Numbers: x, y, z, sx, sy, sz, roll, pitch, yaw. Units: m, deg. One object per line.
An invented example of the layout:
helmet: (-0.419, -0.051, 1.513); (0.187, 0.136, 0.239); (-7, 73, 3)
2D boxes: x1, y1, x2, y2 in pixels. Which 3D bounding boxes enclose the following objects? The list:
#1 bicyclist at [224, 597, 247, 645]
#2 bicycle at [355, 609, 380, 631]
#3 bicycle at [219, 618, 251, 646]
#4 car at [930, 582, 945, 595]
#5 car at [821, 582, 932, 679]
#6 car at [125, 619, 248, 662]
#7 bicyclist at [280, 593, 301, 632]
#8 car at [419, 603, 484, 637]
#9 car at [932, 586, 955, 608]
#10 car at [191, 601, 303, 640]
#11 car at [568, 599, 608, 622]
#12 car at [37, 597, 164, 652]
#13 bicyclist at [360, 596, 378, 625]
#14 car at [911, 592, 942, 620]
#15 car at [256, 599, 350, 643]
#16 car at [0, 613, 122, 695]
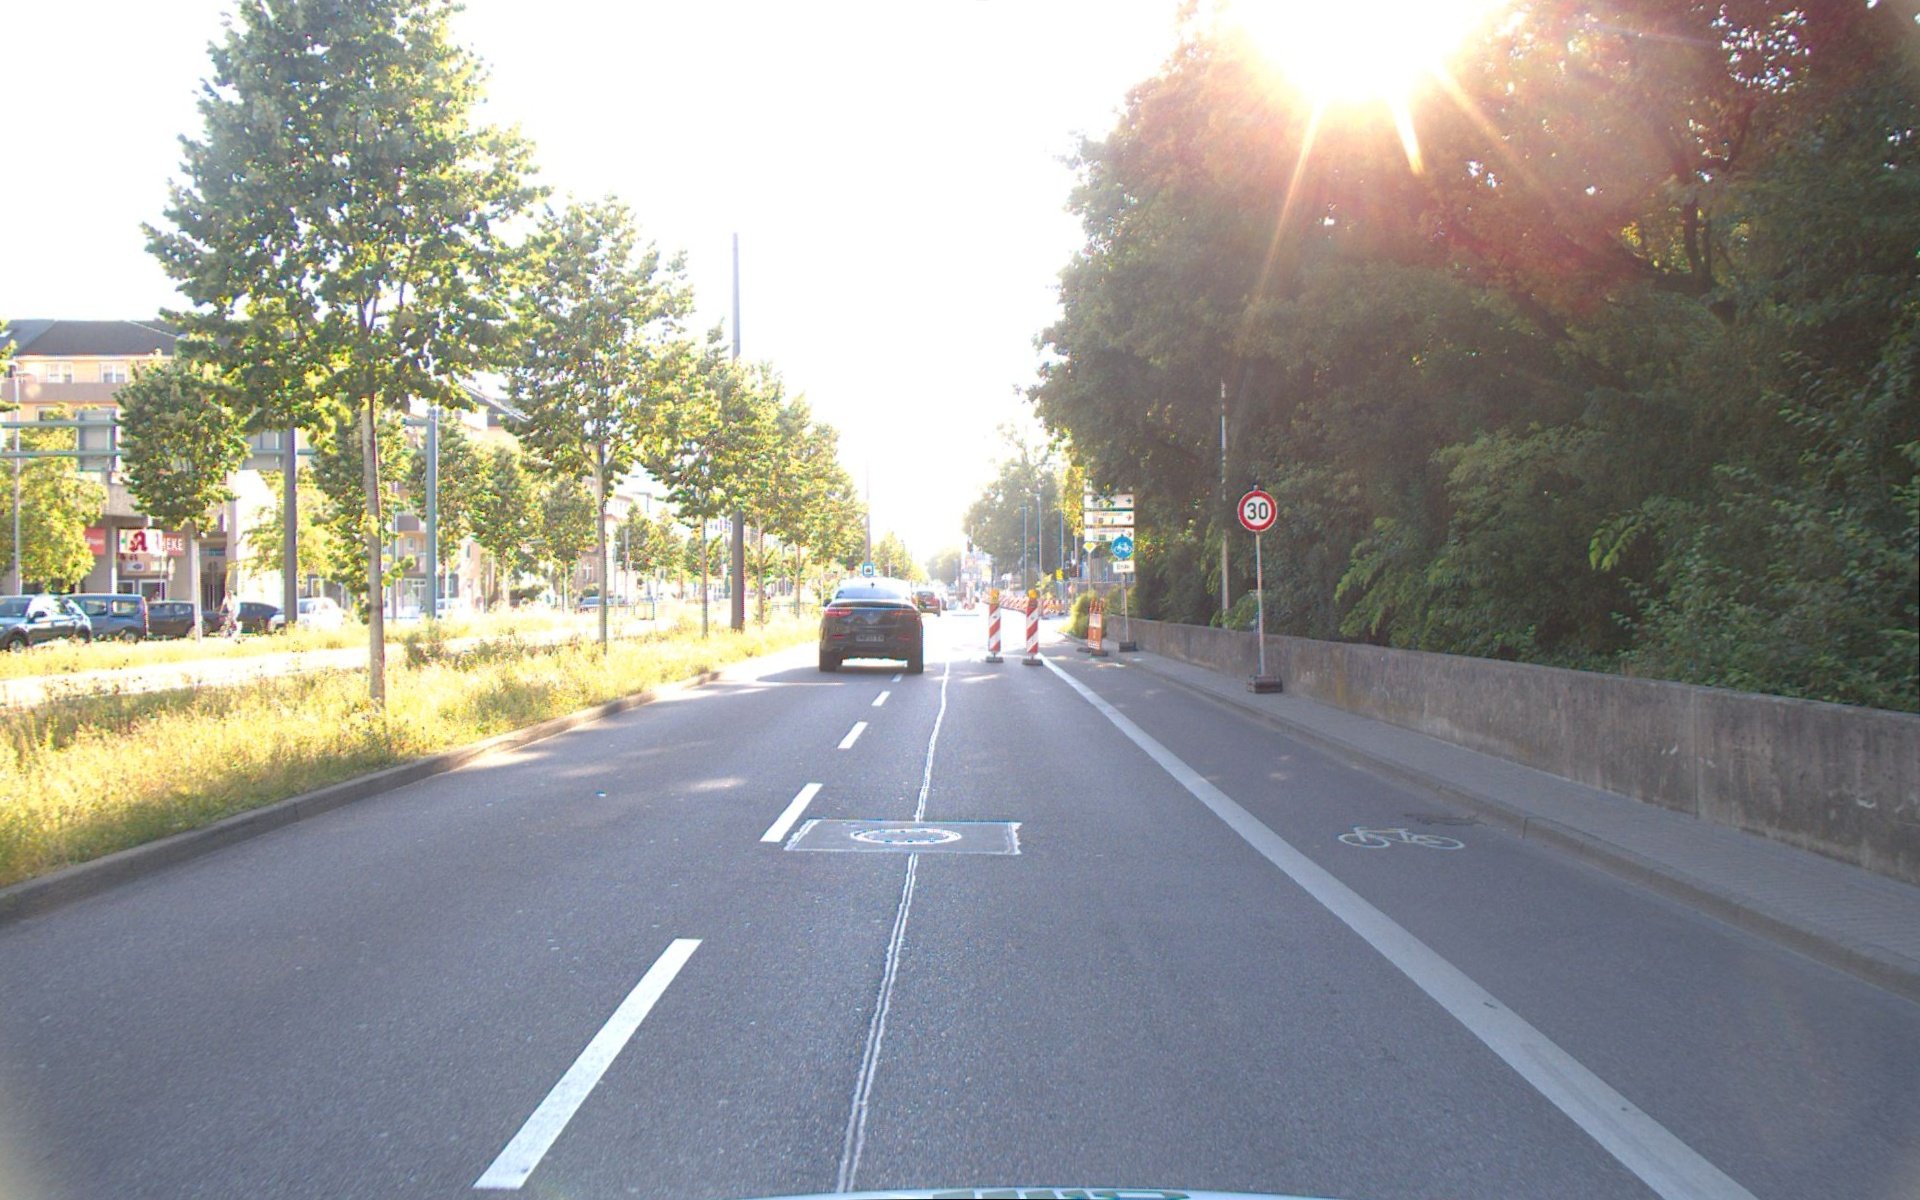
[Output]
bicyclist: (-27.728, 0.804, 63.303); (0.529, 1.819, 0.857); (1, 0, -3)
bicycle: (-27.791, 0.949, 77.607); (0.594, 0.980, 1.716); (1, 0, -3)
bicycle: (-27.735, 1.226, 63.275); (0.533, 1.010, 1.711); (1, 0, -3)
car: (-2.816, -1.409, 204.667); (1.847, 1.608, 4.000); (0, 1, -1)
car: (-1.679, 0.545, 32.189); (1.955, 1.765, 3.995); (0, 0, -6)
car: (-30.655, 1.577, 65.604); (1.964, 1.601, 3.976); (1, 0, 41)
bicyclist: (-27.293, 0.523, 67.408); (0.540, 1.571, 0.682); (1, 0, 1)
car: (-24.950, 0.968, 81.248); (1.846, 1.541, 4.001); (0, 0, 2)
car: (-1.241, -0.247, 124.126); (1.731, 1.632, 3.772); (-1, 0, -1)
car: (-30.343, 0.866, 70.442); (3.966, 1.590, 1.969); (1, 0, -42)
car: (-24.376, 0.698, 108.500); (1.894, 1.421, 3.686); (-1, 0, -3)
car: (-30.592, 0.857, 58.882); (3.724, 1.861, 1.798); (1, 0, -40)
bicyclist: (-27.771, 0.488, 77.692); (0.580, 1.379, 0.759); (1, 0, -3)
car: (-2.006, 0.331, 99.897); (1.847, 1.608, 4.000); (0, 1, -1)
car: (-24.593, 0.765, 62.061); (1.846, 1.541, 4.001); (0, 0, 2)
car: (-22.057, 1.216, 39.055); (1.846, 1.718, 5.090); (0, 0, 2)
